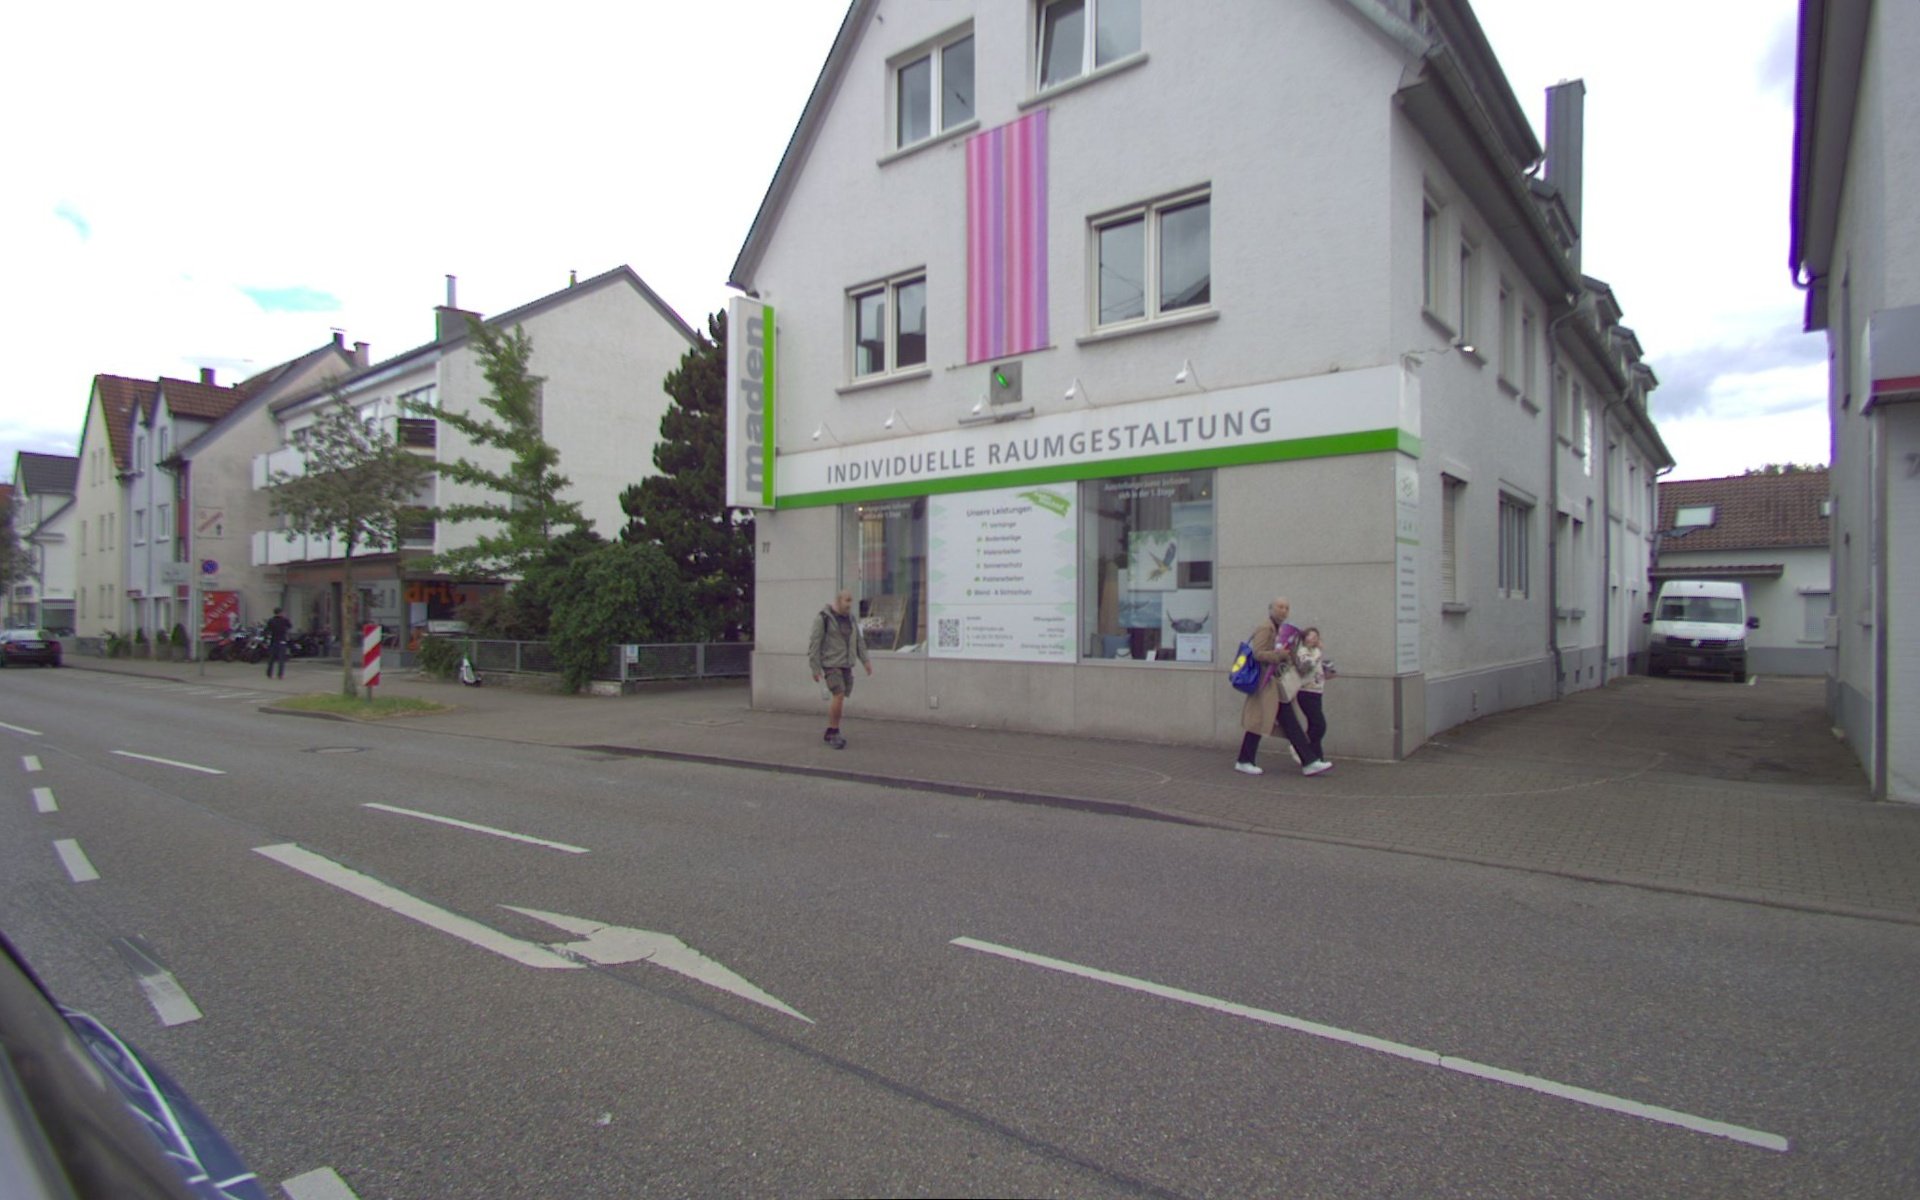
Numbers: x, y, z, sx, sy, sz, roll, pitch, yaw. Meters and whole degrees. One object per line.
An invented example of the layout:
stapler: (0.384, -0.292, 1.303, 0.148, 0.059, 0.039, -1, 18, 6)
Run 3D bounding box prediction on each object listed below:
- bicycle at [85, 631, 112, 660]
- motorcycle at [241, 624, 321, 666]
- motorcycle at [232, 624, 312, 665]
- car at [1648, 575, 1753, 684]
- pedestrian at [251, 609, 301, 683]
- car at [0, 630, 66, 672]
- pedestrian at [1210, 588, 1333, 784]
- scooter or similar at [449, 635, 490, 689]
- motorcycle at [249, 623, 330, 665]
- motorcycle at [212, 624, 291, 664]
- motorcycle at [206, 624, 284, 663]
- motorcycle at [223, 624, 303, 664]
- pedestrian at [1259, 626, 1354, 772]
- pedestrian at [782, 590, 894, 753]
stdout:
bicycle: (-36.231, 1.905, 42.549, 2.022, 1.205, 0.509, -1, -1, 39)
motorcycle: (-23.395, 1.528, 34.907, 0.612, 1.275, 2.204, -1, 1, 38)
motorcycle: (-24.031, 1.541, 35.387, 0.612, 1.275, 2.204, -1, 1, 38)
car: (19.594, 0.681, 26.658, 1.957, 2.527, 5.918, 2, 1, 38)
pedestrian: (-18.021, 1.185, 26.661, 1.019, 1.863, 0.744, -1, 2, 40)
car: (-34.619, 1.847, 37.329, 4.336, 1.428, 1.770, -1, -2, 39)
pedestrian: (2.809, 0.733, 9.117, 0.792, 1.629, 0.744, -1, 2, 40)
scooter or similar: (-10.562, 1.322, 21.781, 1.179, 1.120, 0.336, -1, -1, 41)
motorcycle: (-22.777, 1.485, 34.418, 0.612, 1.275, 2.204, -1, 1, 38)
motorcycle: (-25.404, 1.559, 36.341, 0.612, 1.275, 2.204, -1, 1, 38)
motorcycle: (-26.007, 1.573, 36.823, 0.612, 1.275, 2.204, -1, 1, 38)
motorcycle: (-24.692, 1.539, 35.911, 0.698, 1.275, 2.204, -1, 1, 38)
pedestrian: (3.267, 0.900, 9.549, 0.654, 1.289, 0.593, -1, 0, 40)
pedestrian: (-1.399, 0.781, 11.604, 1.019, 1.756, 0.744, -1, 1, 40)
